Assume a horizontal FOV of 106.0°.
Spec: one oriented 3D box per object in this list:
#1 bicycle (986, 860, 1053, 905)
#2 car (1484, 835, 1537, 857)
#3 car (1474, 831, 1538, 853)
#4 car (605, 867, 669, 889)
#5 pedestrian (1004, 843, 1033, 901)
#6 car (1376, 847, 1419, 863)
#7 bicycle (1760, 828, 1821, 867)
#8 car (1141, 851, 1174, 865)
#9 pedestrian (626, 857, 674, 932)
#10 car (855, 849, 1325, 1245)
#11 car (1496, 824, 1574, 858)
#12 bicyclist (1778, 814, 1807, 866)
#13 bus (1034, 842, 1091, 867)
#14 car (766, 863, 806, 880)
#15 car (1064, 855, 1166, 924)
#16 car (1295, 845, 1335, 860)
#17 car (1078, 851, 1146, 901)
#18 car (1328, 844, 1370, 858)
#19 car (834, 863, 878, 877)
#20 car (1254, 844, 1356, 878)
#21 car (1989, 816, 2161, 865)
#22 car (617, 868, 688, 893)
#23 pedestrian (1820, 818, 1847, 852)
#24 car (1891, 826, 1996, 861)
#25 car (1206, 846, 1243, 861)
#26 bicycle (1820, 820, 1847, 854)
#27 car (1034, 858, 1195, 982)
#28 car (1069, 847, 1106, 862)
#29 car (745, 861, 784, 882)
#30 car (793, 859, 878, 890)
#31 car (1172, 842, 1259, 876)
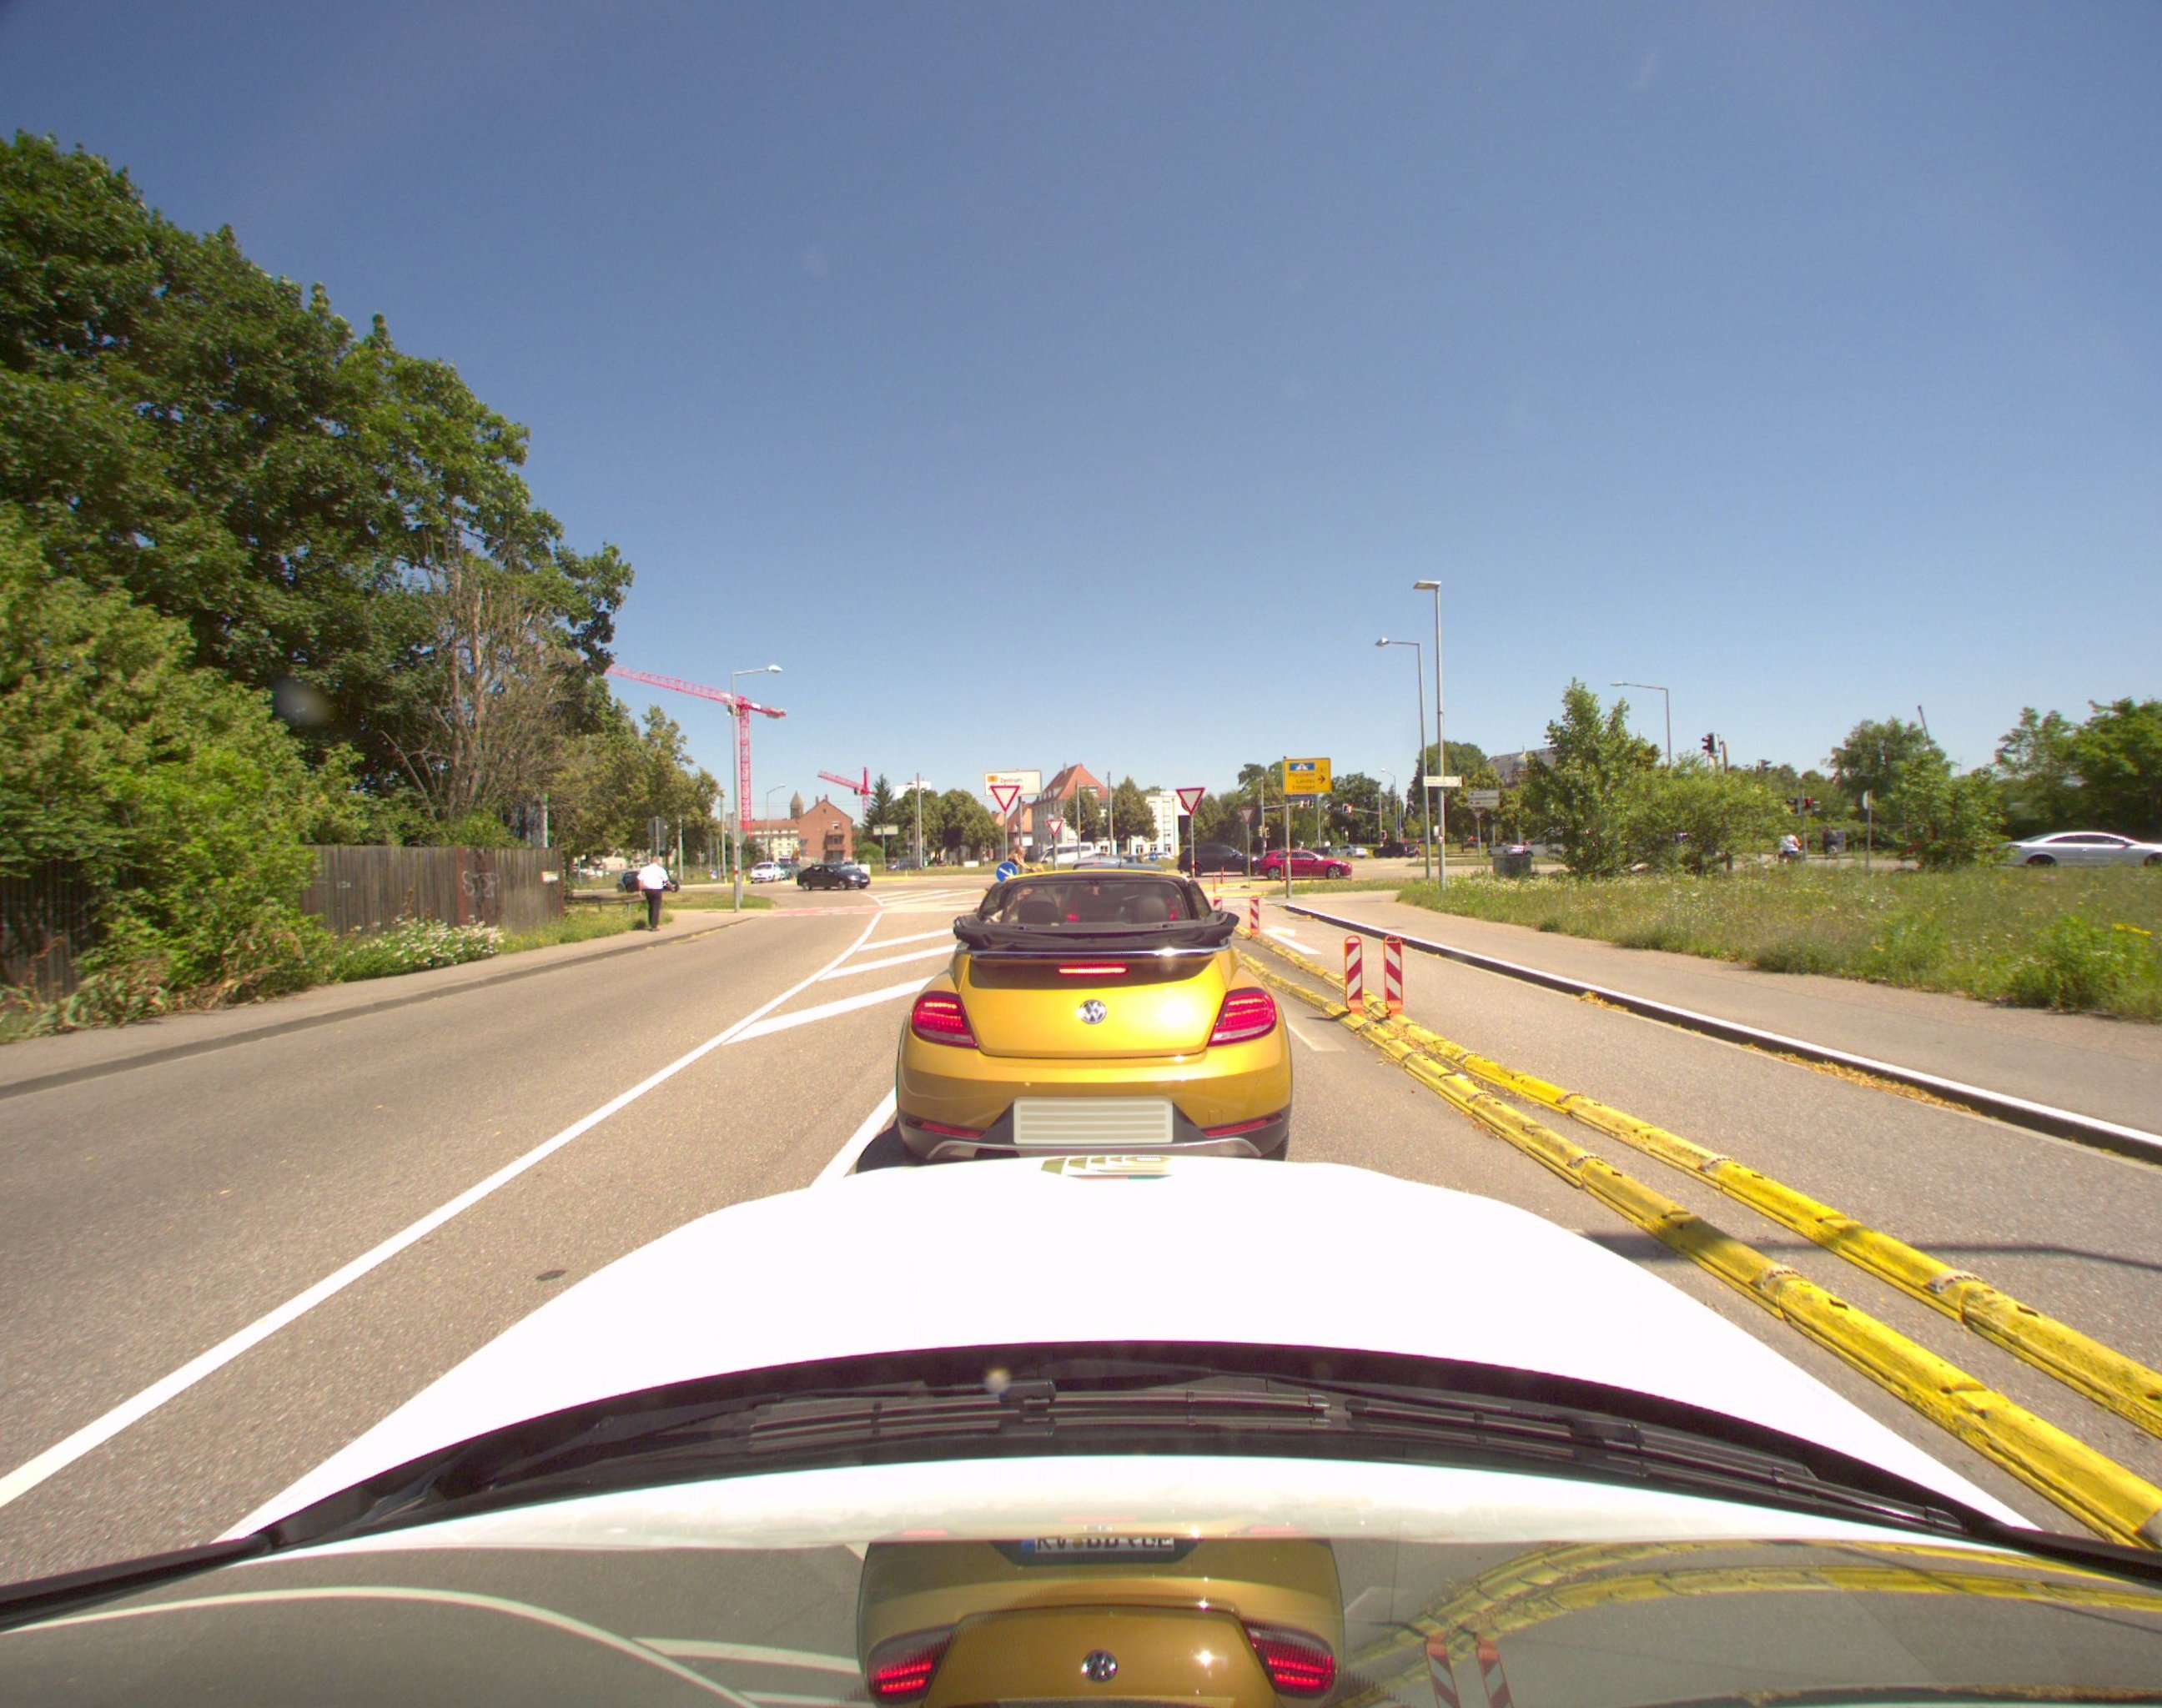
[{"bbox_3d":[-1.816,0.838,24.189,1.830,1.231,0.615,-3,-1,12],"label":"bicycle"},{"bbox_3d":[40.217,-0.691,76.442,1.983,1.962,5.321,0,-1,-3],"label":"car"},{"bbox_3d":[39.608,-1.064,76.007,1.995,1.962,5.289,0,-1,-22],"label":"car"},{"bbox_3d":[-32.247,1.710,59.155,3.956,1.552,1.735,-1,-1,17],"label":"car"},{"bbox_3d":[-1.854,0.530,24.213,0.728,1.691,0.577,-1,-1,11],"label":"pedestrian"},{"bbox_3d":[33.471,0.156,86.237,1.880,1.614,4.305,0,-1,-17],"label":"car"},{"bbox_3d":[25.679,-0.239,29.474,2.902,1.353,0.635,0,-1,-28],"label":"bicycle"},{"bbox_3d":[9.786,0.552,104.136,3.957,1.772,1.794,-1,-1,15],"label":"car"},{"bbox_3d":[-10.519,0.968,19.914,0.633,1.786,0.969,0,-1,1],"label":"pedestrian"},{"bbox_3d":[0.096,0.745,5.199,1.758,1.481,4.259,0,-1,2],"label":"car"},{"bbox_3d":[34.107,-0.930,61.392,1.991,2.397,5.301,0,-1,-15],"label":"car"},{"bbox_3d":[25.760,-0.502,29.493,0.573,1.841,0.603,0,-1,-29],"label":"bicyclist"},{"bbox_3d":[-2.341,0.099,104.587,7.238,3.172,2.258,0,-1,-4],"label":"bus"},{"bbox_3d":[-25.220,1.505,69.748,1.740,1.371,4.332,0,0,1],"label":"car"},{"bbox_3d":[0.757,0.744,18.728,2.057,1.382,4.259,0,0,2],"label":"car"},{"bbox_3d":[28.444,-0.142,99.220,1.859,1.736,4.391,0,-1,-42],"label":"car"},{"bbox_3d":[1.047,0.673,27.720,2.057,1.481,4.545,-2,0,2],"label":"car"},{"bbox_3d":[28.018,-0.330,85.279,1.755,1.371,4.294,0,-1,-26],"label":"car"},{"bbox_3d":[-22.248,1.572,80.760,1.711,1.402,4.297,-1,-1,29],"label":"car"},{"bbox_3d":[10.446,0.333,38.278,4.380,1.527,2.005,-1,-1,8],"label":"car"},{"bbox_3d":[34.887,-0.464,28.139,4.362,1.527,2.013,-2,0,39],"label":"car"},{"bbox_3d":[-28.106,1.735,53.451,3.957,1.552,1.735,-1,-1,15],"label":"car"},{"bbox_3d":[37.905,-0.959,41.028,0.959,1.660,0.892,-1,-1,44],"label":"pedestrian"},{"bbox_3d":[47.360,-0.546,44.836,3.889,1.817,1.673,-1,-1,44],"label":"car"},{"bbox_3d":[17.240,-0.068,97.867,1.856,1.736,4.396,0,-1,-35],"label":"car"},{"bbox_3d":[38.004,-0.831,41.137,0.972,1.597,2.900,-1,-1,43],"label":"bicycle"},{"bbox_3d":[0.460,0.786,11.719,1.844,1.366,4.260,-2,0,2],"label":"car"},{"bbox_3d":[0.819,0.083,100.967,4.411,1.736,1.850,0,-1,3],"label":"car"},{"bbox_3d":[-24.834,1.354,63.982,1.773,1.527,3.866,-2,0,-5],"label":"car"},{"bbox_3d":[-13.353,1.131,44.241,4.289,1.552,1.738,-2,1,25],"label":"car"},{"bbox_3d":[7.106,0.273,43.302,4.381,1.595,2.004,-2,0,7],"label":"car"}]
